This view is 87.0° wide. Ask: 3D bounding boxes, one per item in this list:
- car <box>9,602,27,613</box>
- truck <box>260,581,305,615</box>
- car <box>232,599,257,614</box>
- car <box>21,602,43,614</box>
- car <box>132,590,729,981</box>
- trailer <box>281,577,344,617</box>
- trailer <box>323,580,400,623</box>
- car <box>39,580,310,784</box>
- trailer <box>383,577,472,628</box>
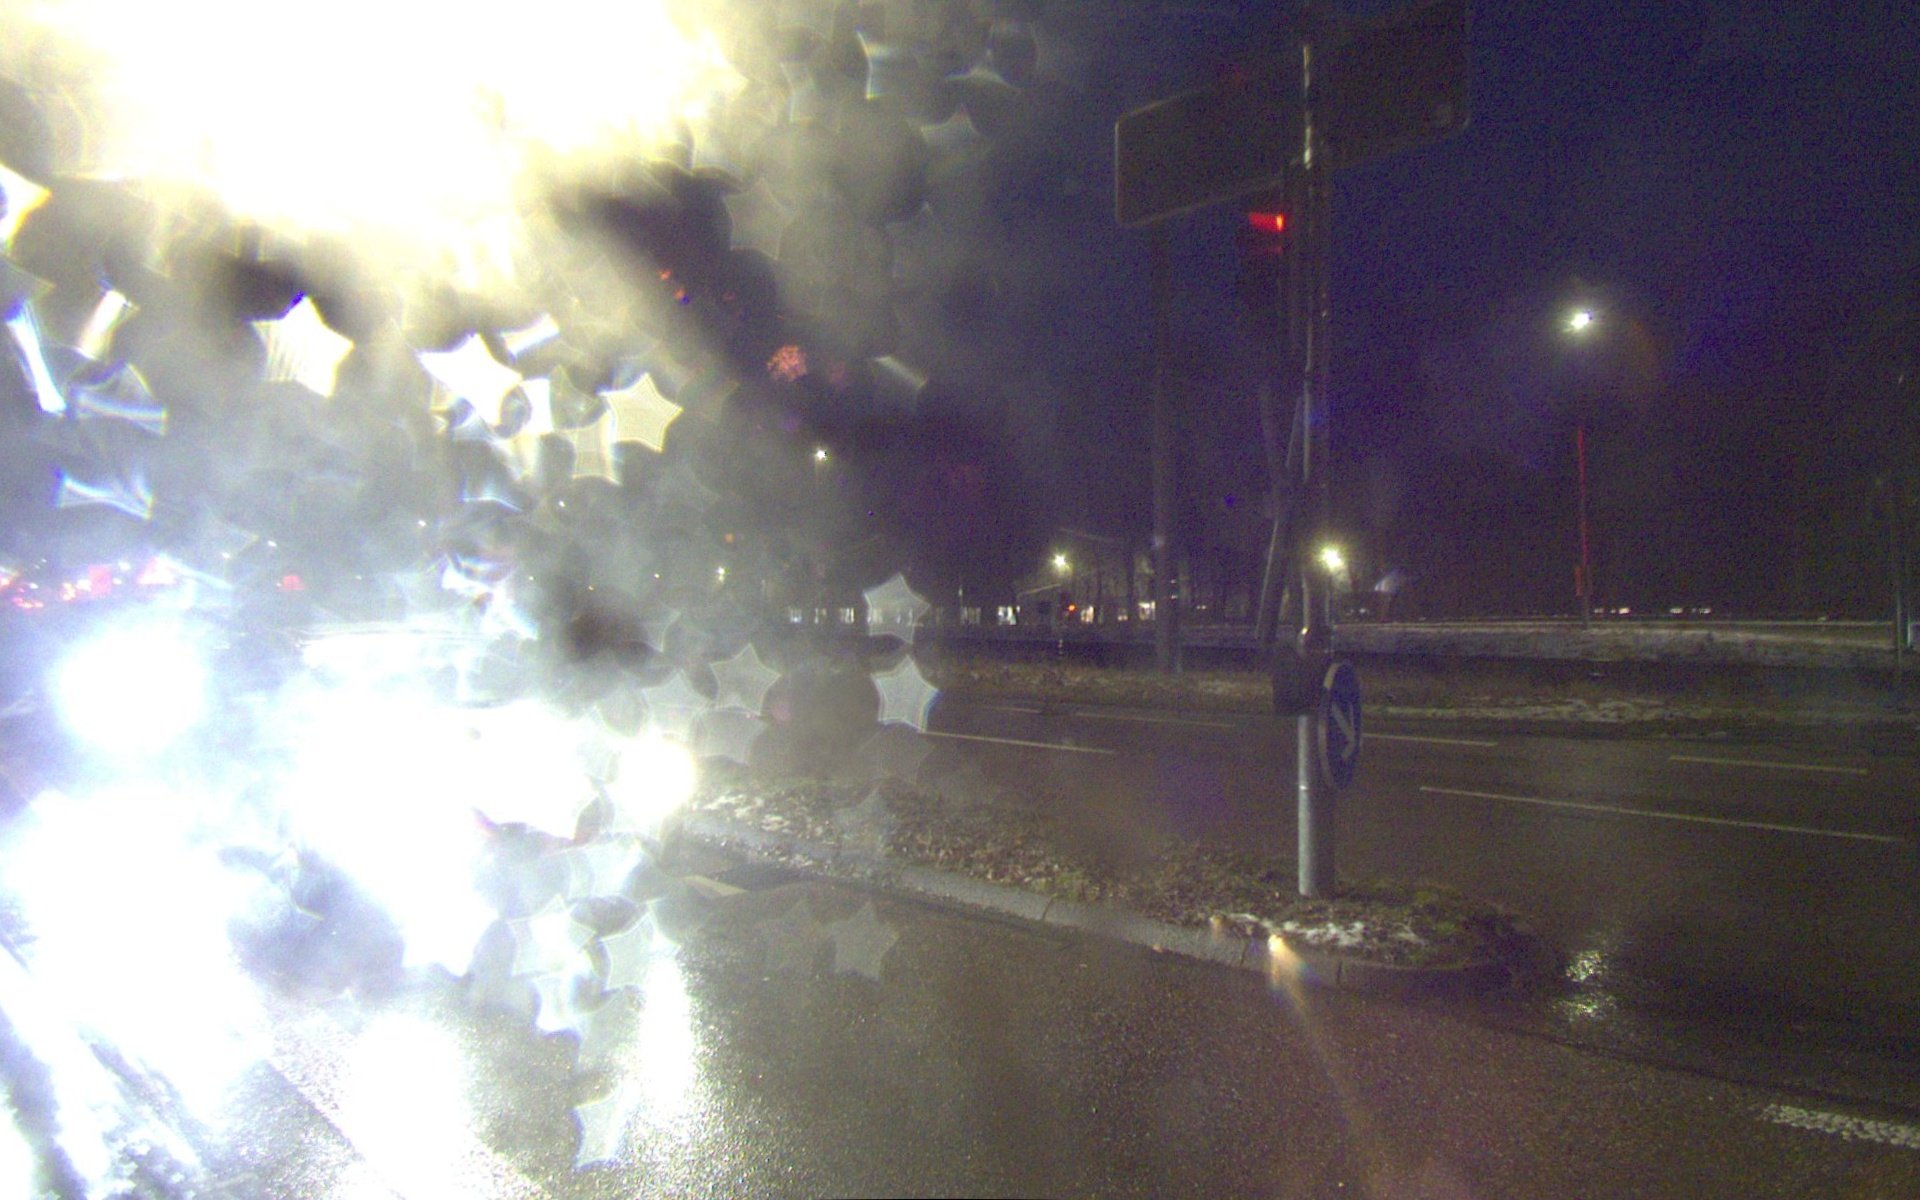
[{"bbox_3d":[-145.578,1.151,156.418,4.031,1.600,1.782,0,1,43],"label":"car"},{"bbox_3d":[-100.872,-0.323,150.568,3.400,4.643,10.220,-6,4,-45],"label":"truck"},{"bbox_3d":[-87.831,0.831,124.215,4.220,1.706,1.766,-1,1,44],"label":"car"},{"bbox_3d":[-128.649,1.128,140.292,4.652,1.654,1.742,-1,1,42],"label":"car"},{"bbox_3d":[-3.435,0.762,6.105,4.435,1.522,1.764,-1,-2,42],"label":"car"},{"bbox_3d":[-88.750,-0.458,138.450,3.926,5.049,14.845,-6,4,-44],"label":"trailer"},{"bbox_3d":[-70.776,0.069,119.481,3.926,4.643,15.525,-6,4,-44],"label":"trailer"},{"bbox_3d":[-8.747,0.748,11.111,4.437,1.795,1.764,-1,-1,44],"label":"car"},{"bbox_3d":[-54.964,0.152,104.136,3.926,4.643,14.257,-6,4,-44],"label":"trailer"}]
